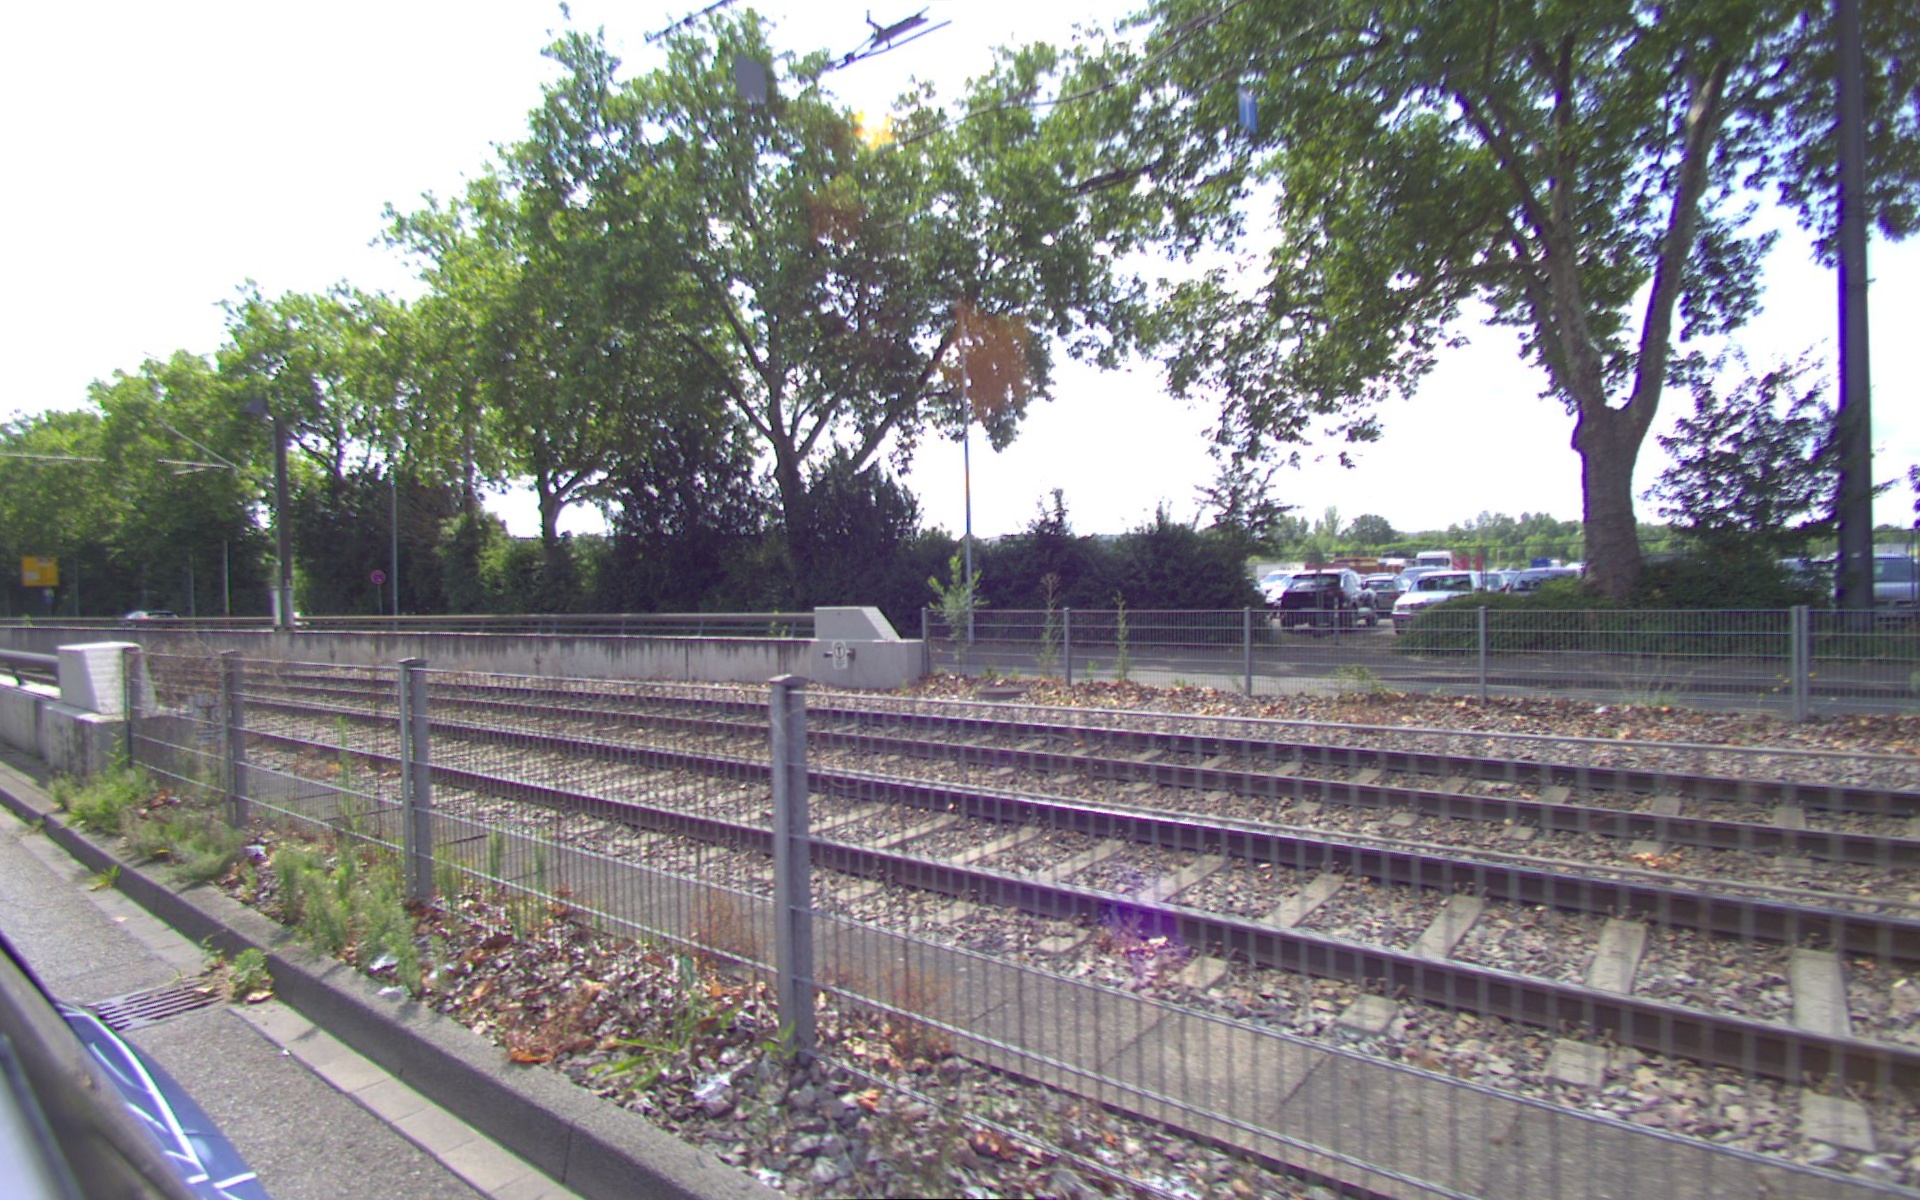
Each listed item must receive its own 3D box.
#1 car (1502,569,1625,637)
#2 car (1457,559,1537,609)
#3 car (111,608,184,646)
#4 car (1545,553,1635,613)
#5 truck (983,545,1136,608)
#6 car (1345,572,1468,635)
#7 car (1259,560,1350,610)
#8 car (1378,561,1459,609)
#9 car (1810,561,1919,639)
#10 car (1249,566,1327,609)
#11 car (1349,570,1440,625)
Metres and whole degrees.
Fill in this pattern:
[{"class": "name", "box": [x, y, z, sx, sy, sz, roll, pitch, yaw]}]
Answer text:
[{"class": "car", "box": [14.421, 0.031, 24.085, 1.998, 1.453, 3.949, -1, 1, 38]}, {"class": "car", "box": [20.500, -0.624, 38.533, 1.998, 1.785, 3.949, -1, 1, 38]}, {"class": "car", "box": [-36.765, 1.193, 45.751, 4.292, 1.609, 1.651, -1, 0, 38]}, {"class": "car", "box": [20.201, -0.552, 32.395, 1.998, 1.785, 3.949, -1, 1, 38]}, {"class": "truck", "box": [5.004, -1.067, 49.237, 2.706, 2.814, 8.737, 0, 0, 43]}, {"class": "car", "box": [11.659, 0.051, 26.312, 1.998, 1.453, 3.949, -1, 1, 38]}, {"class": "car", "box": [12.908, -0.580, 37.763, 1.998, 1.785, 3.949, -1, 1, 38]}, {"class": "car", "box": [18.221, -0.611, 40.152, 1.998, 1.785, 3.949, -1, 1, 38]}, {"class": "car", "box": [18.802, -0.056, 20.741, 1.998, 1.453, 3.949, -1, 1, 38]}, {"class": "car", "box": [14.474, -0.589, 44.524, 1.998, 1.785, 3.949, -1, 1, 38]}, {"class": "car", "box": [15.446, -0.121, 35.860, 1.998, 1.785, 3.949, -1, 1, 38]}]
